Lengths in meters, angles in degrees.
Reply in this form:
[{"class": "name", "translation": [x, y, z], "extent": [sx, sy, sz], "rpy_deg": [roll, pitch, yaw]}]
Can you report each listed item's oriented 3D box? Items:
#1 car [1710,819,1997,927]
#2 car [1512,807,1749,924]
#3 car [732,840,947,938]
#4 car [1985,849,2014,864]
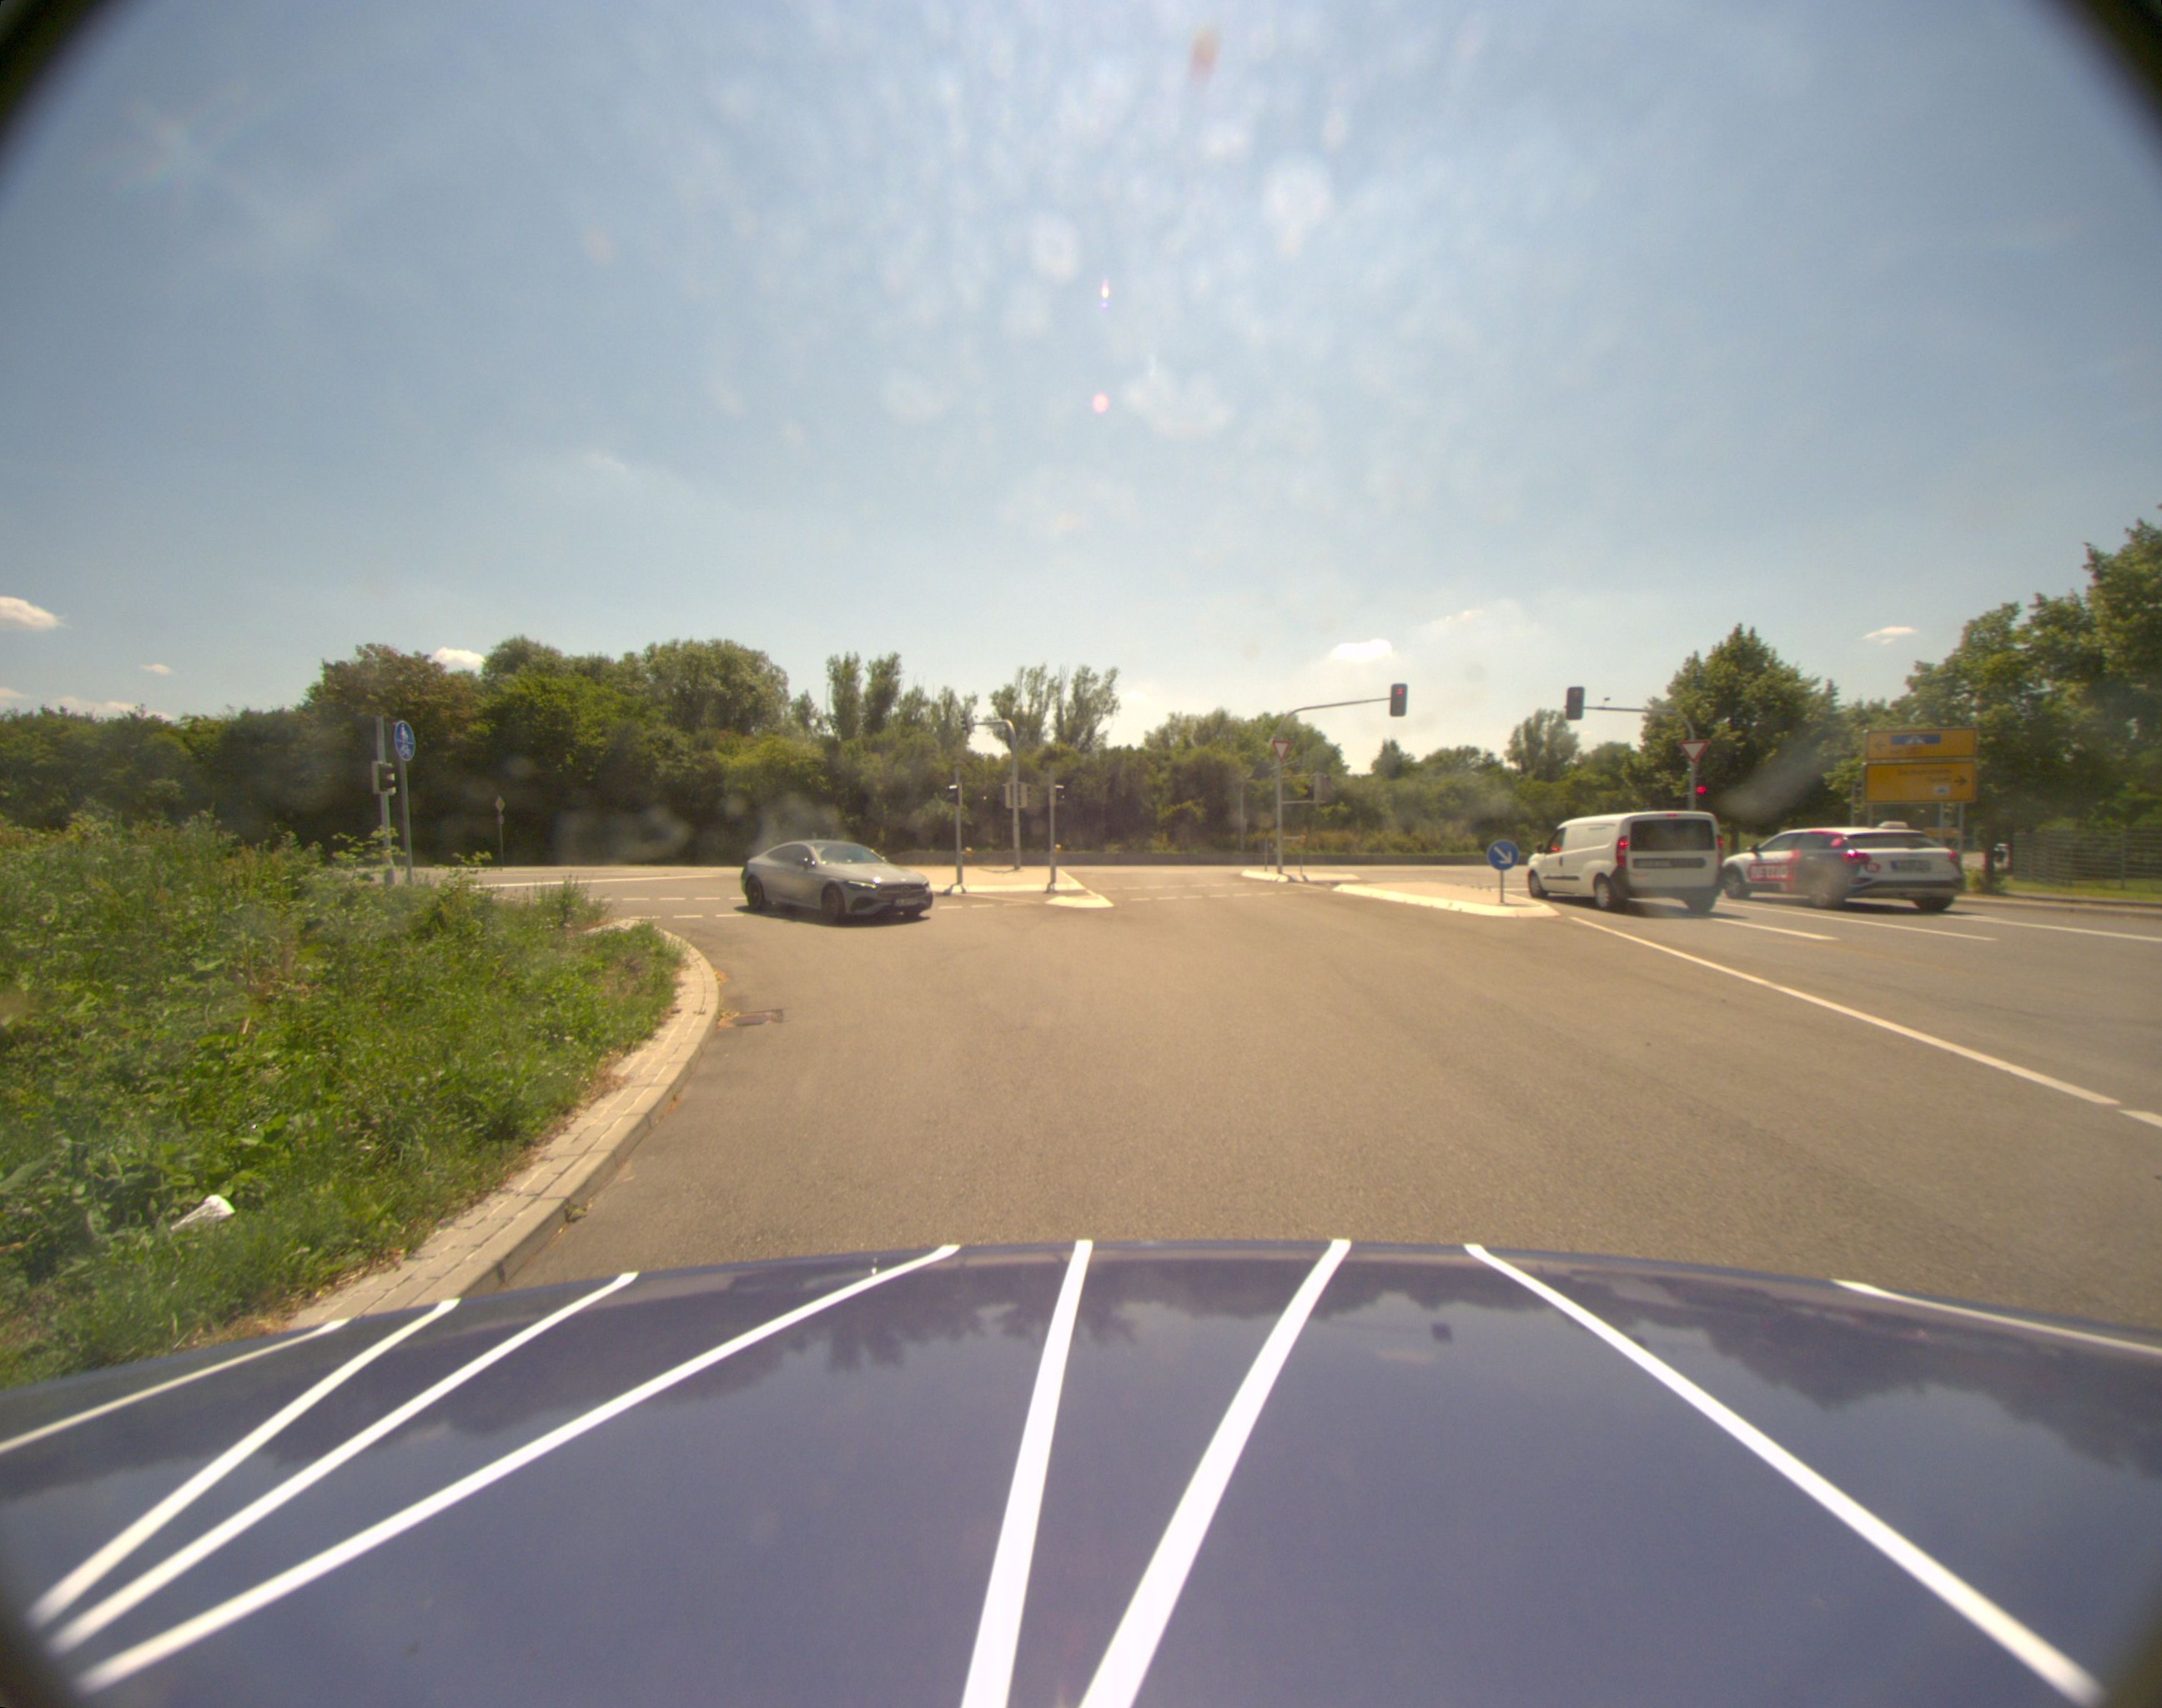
[{"class": "car", "translation": [14.515, 0.253, 14.659], "extent": [1.997, 1.698, 3.866], "rpy_deg": [-4, 2, 10]}, {"class": "car", "translation": [10.900, 0.114, 15.619], "extent": [1.997, 1.932, 4.873], "rpy_deg": [-4, 2, 10]}, {"class": "car", "translation": [-4.807, 0.543, 14.818], "extent": [4.467, 1.434, 1.927], "rpy_deg": [4, 5, 41]}, {"class": "car", "translation": [115.922, 0.343, 95.875], "extent": [4.008, 1.772, 1.994], "rpy_deg": [1, 1, -35]}]
